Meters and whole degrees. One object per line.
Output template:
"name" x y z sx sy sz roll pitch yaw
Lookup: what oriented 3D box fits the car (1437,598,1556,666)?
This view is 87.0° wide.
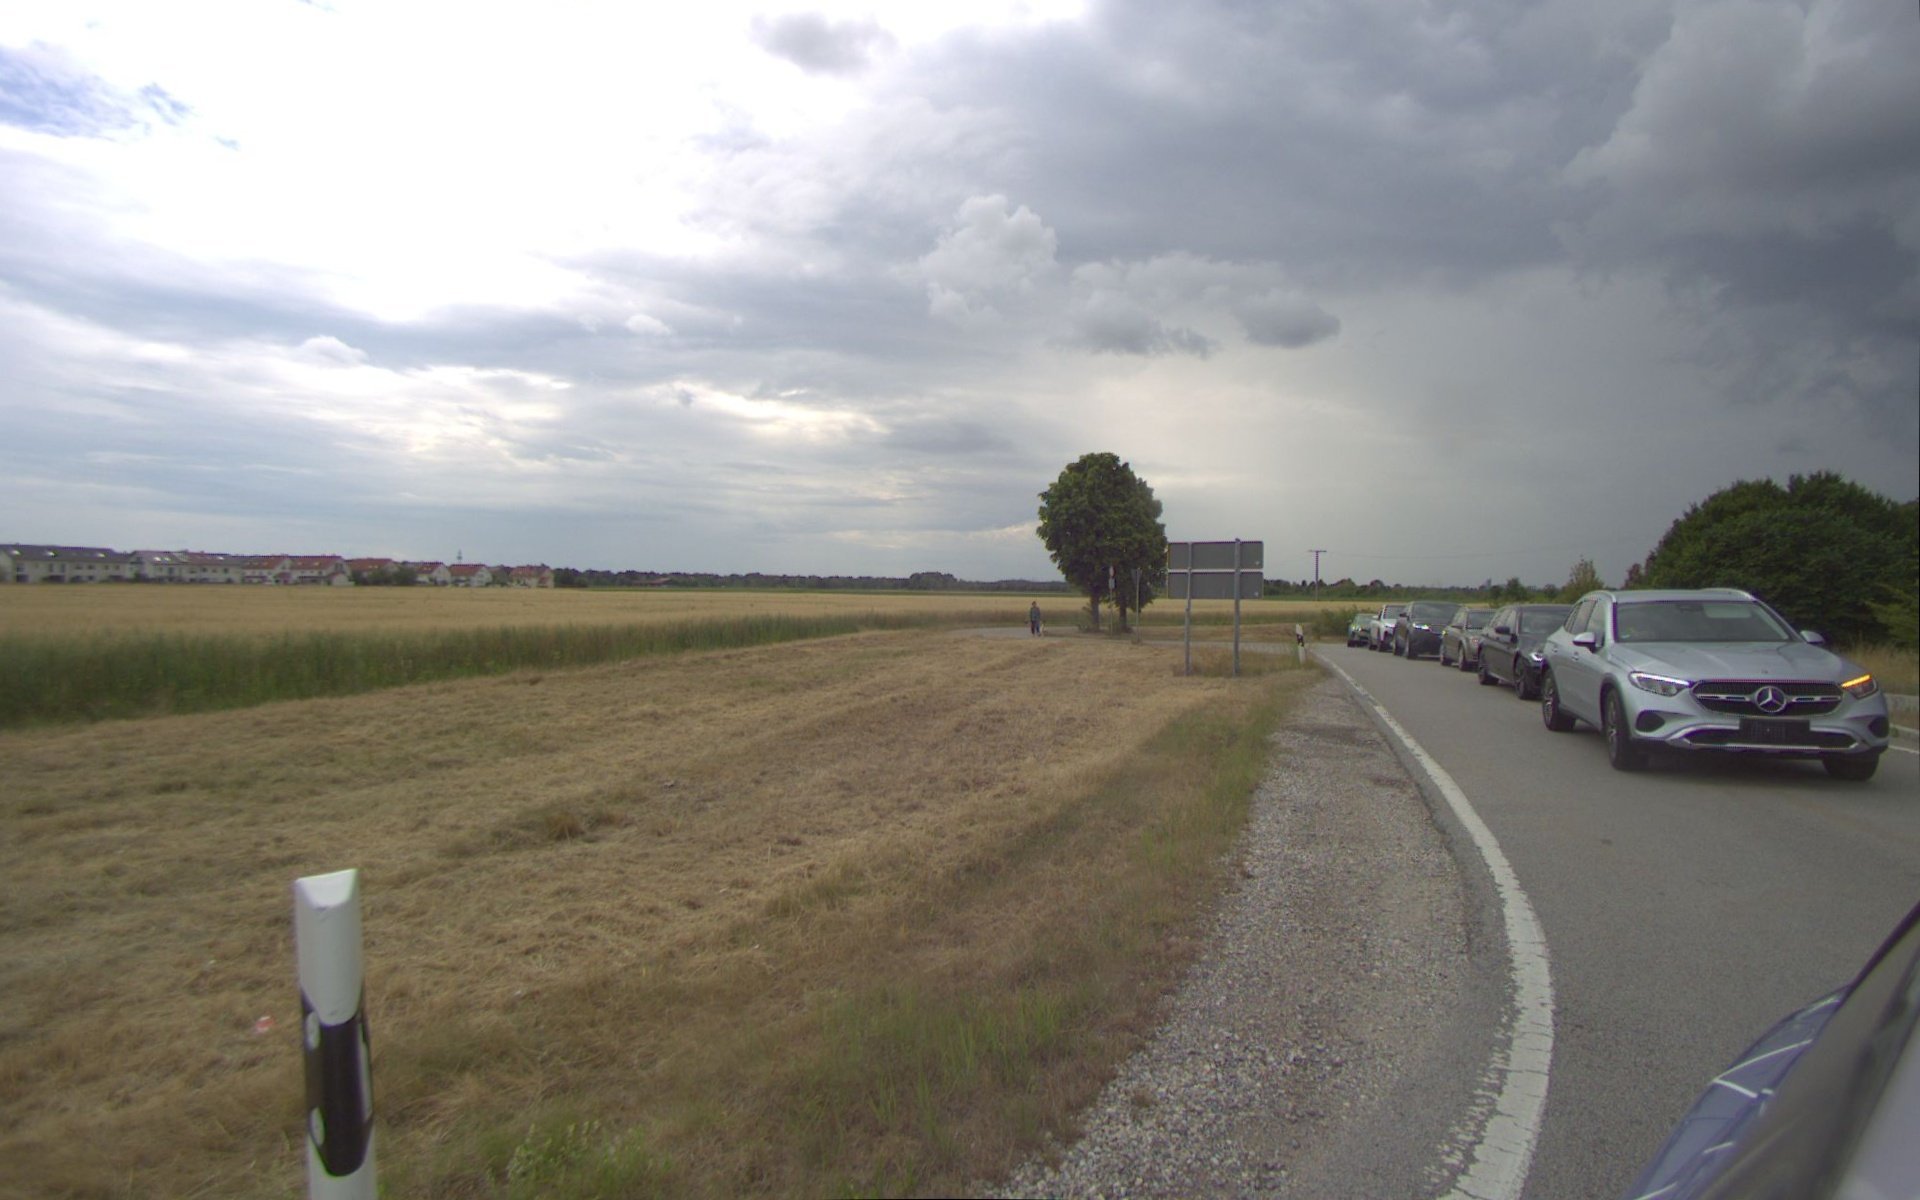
"car" 12.425 0.682 23.702 1.699 1.370 4.190 1 1 17

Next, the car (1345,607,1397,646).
"car" 17.796 1.132 43.961 1.699 1.513 4.190 -1 0 17

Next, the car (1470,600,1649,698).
"car" 9.960 0.735 17.187 1.700 1.370 4.665 -1 0 20

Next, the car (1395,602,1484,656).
"car" 13.713 0.790 29.148 1.699 1.370 4.190 -1 0 17

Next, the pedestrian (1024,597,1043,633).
"pedestrian" 3.354 0.687 46.361 0.759 1.631 0.945 1 0 0

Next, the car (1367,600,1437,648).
"car" 15.510 0.795 35.701 1.699 1.513 4.612 -1 0 17

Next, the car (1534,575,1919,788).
"car" 7.240 0.615 10.001 1.972 1.606 4.365 -1 0 20
